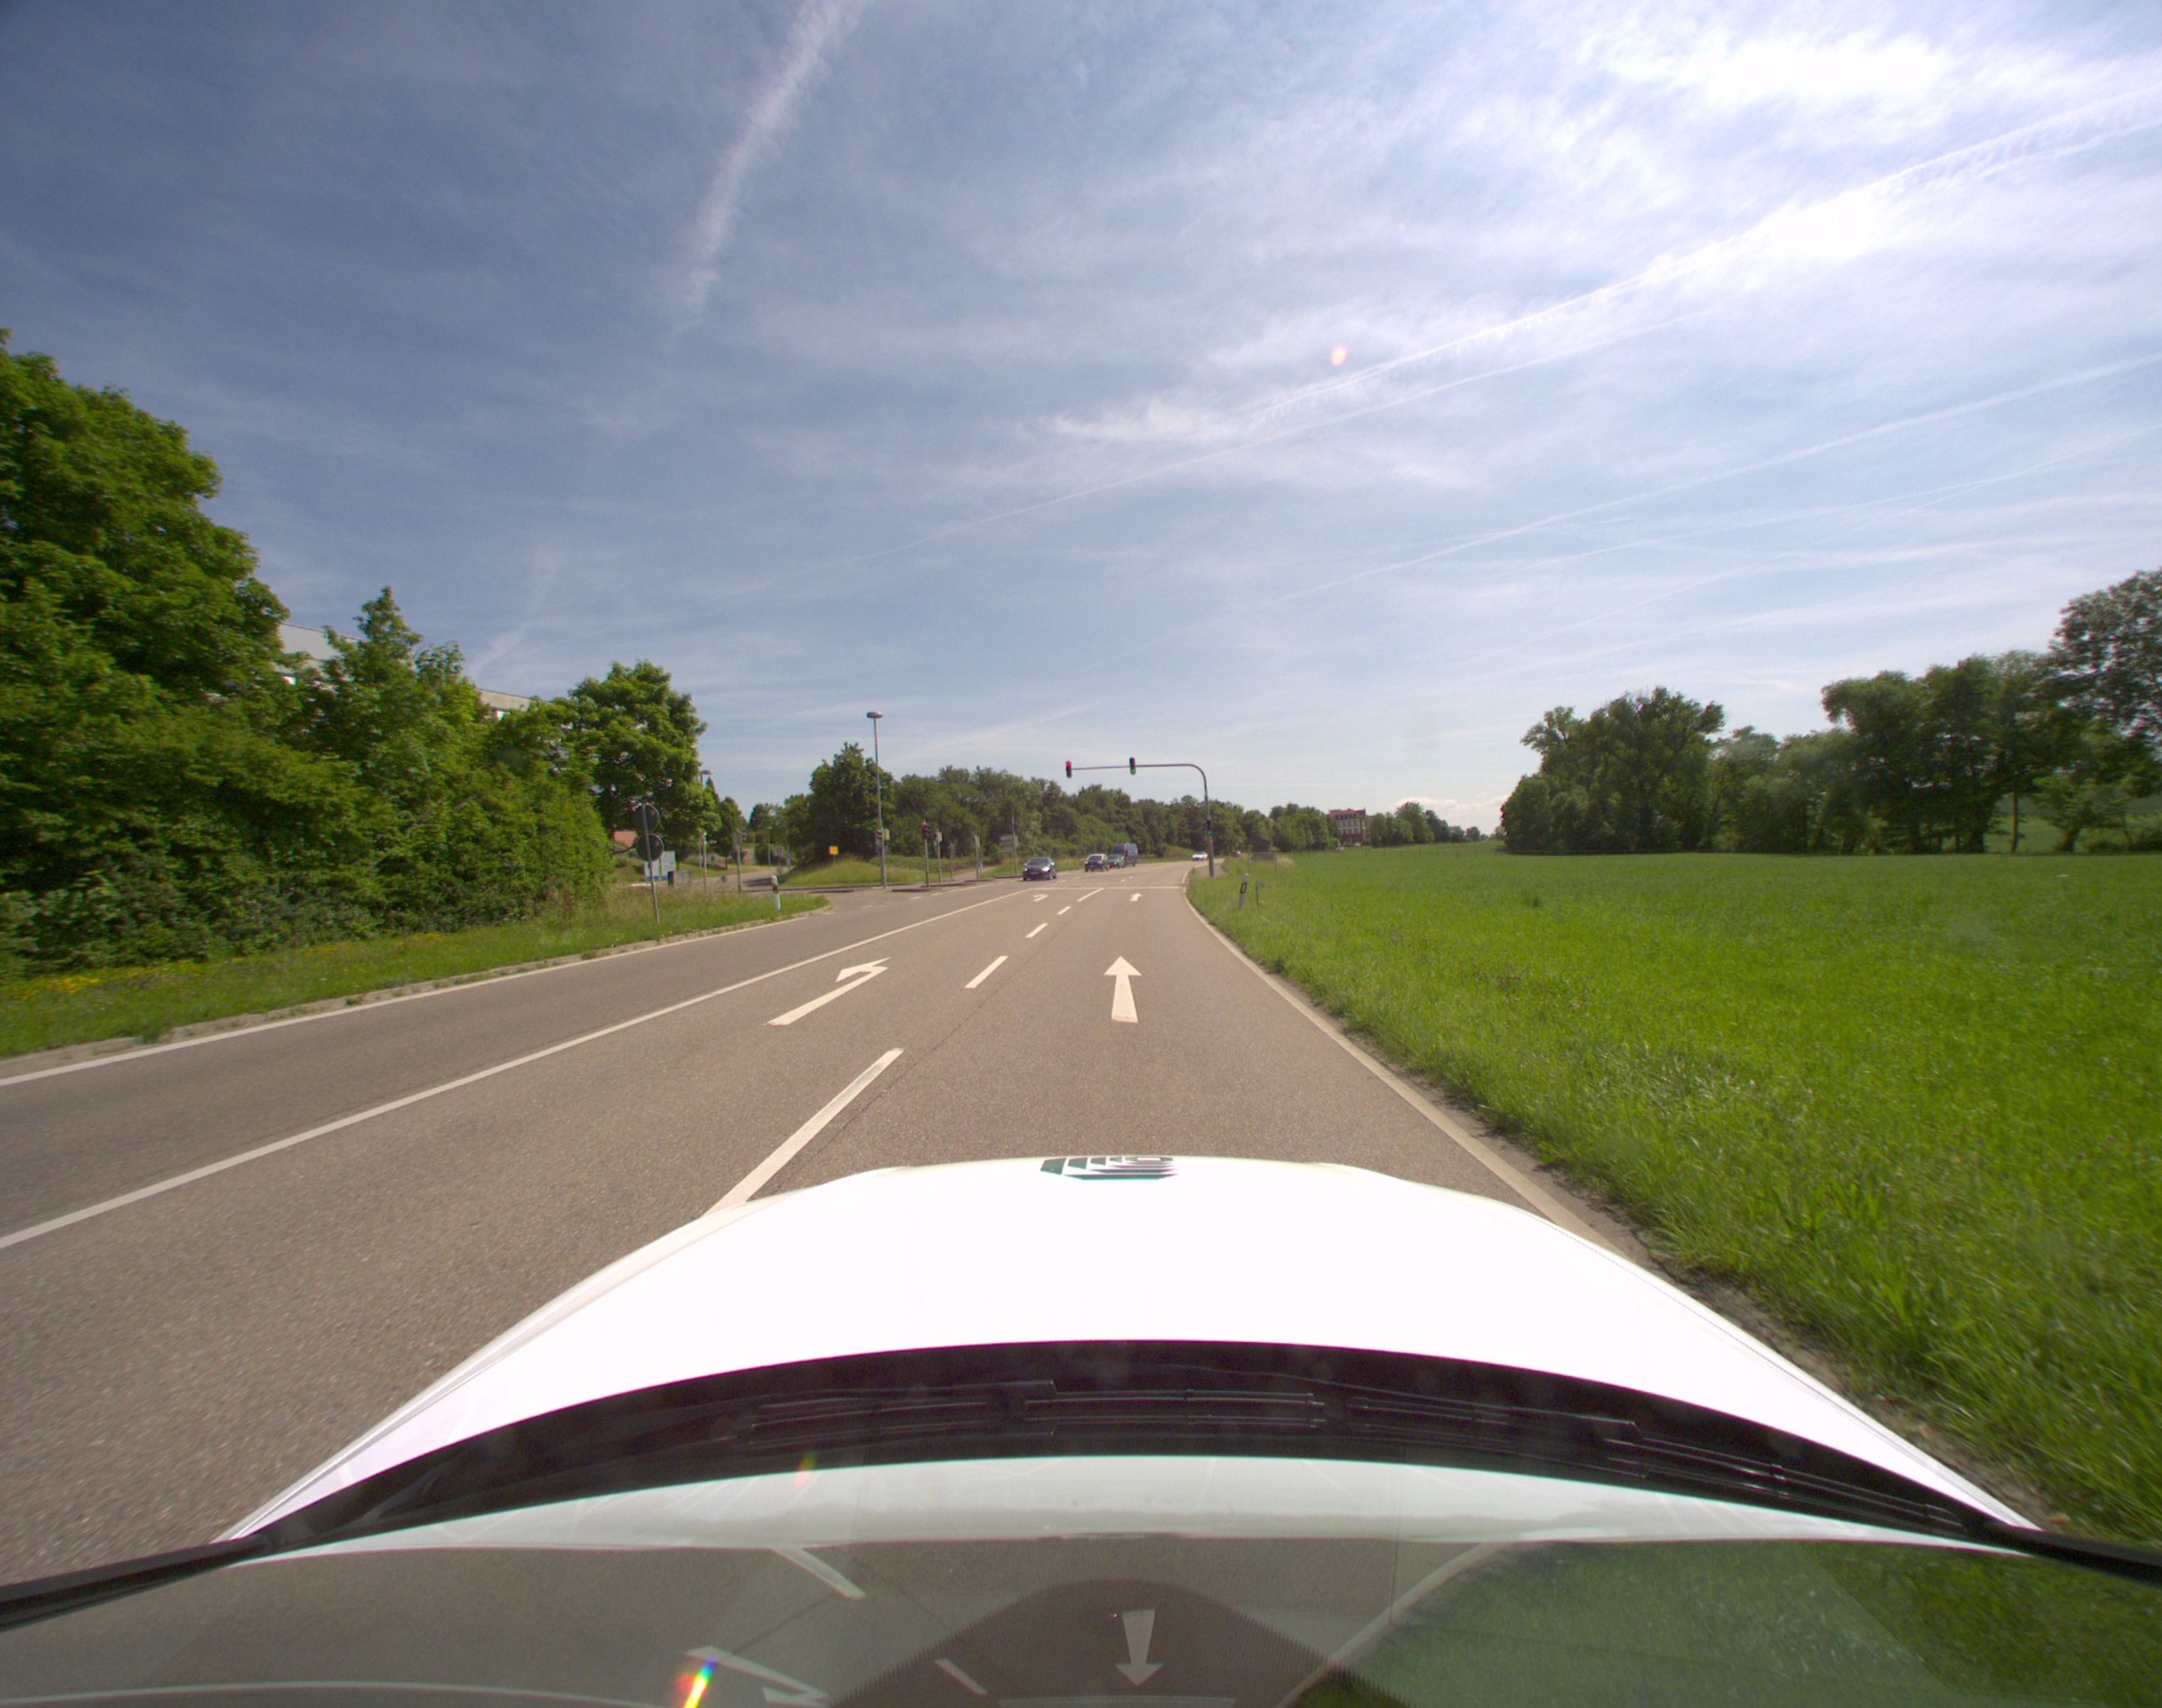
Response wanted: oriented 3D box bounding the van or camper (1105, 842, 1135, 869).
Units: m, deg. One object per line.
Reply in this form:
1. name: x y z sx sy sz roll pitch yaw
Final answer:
1. van or camper: 4.770 0.147 97.532 2.224 2.913 7.273 -2 1 13

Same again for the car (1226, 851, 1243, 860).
1. car: 27.770 0.239 147.282 1.975 1.574 4.023 -1 0 24

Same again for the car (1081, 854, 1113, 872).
1. car: 1.486 0.857 75.596 1.959 1.562 4.206 -2 0 15

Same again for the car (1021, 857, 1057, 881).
1. car: -2.704 0.953 53.031 1.783 1.474 4.315 -2 0 4

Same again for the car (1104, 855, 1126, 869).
1. car: 3.711 0.839 87.995 1.696 1.483 3.844 -2 0 11

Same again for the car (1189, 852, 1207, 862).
1. car: 19.938 0.499 138.162 1.920 1.548 4.652 -2 0 22
